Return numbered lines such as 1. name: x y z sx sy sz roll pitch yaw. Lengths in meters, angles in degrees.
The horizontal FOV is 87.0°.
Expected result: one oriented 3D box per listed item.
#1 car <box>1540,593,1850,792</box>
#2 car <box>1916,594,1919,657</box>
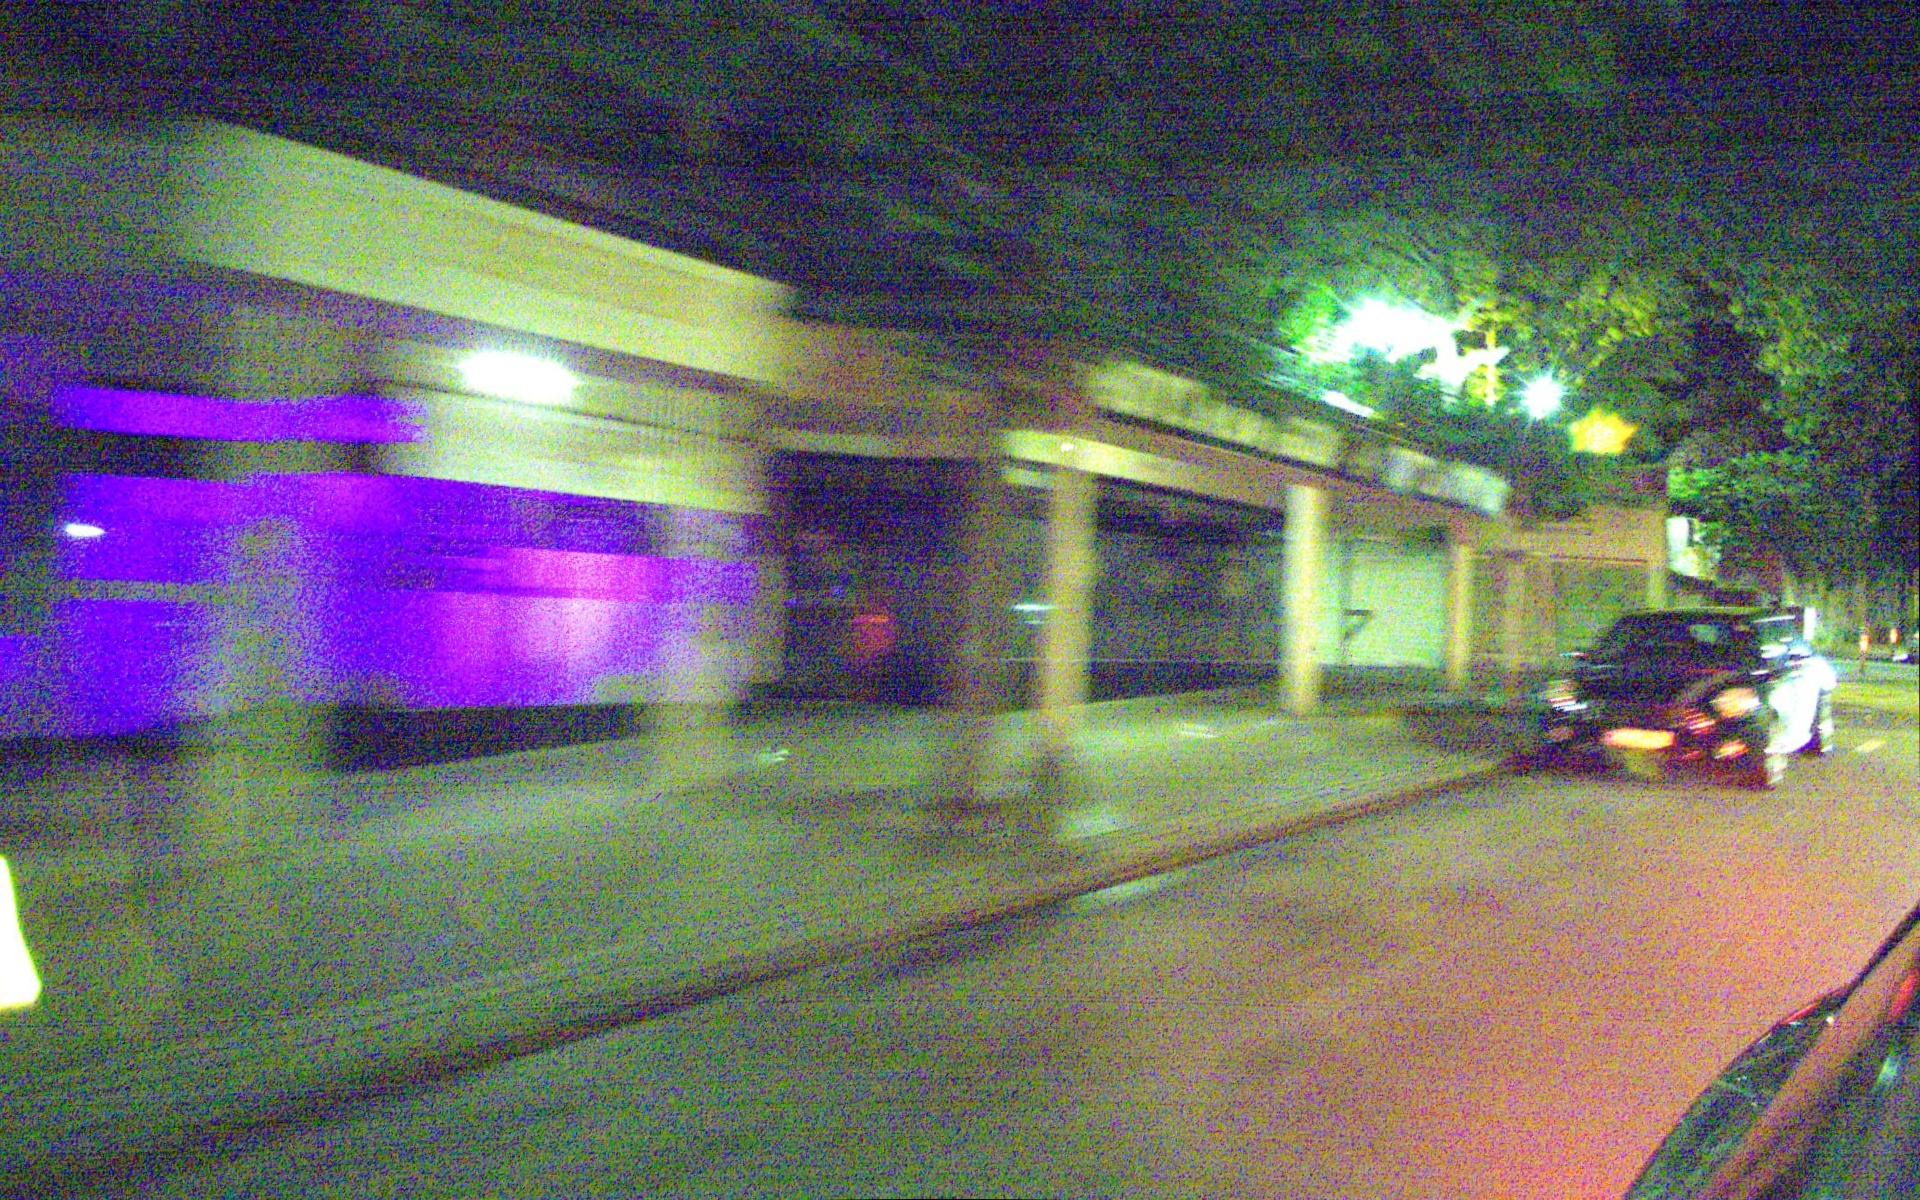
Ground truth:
1. car: 6.875 0.690 9.353 3.457 1.492 1.654 0 0 -42
2. car: 24.009 0.591 23.981 3.650 1.474 1.700 0 0 -42
